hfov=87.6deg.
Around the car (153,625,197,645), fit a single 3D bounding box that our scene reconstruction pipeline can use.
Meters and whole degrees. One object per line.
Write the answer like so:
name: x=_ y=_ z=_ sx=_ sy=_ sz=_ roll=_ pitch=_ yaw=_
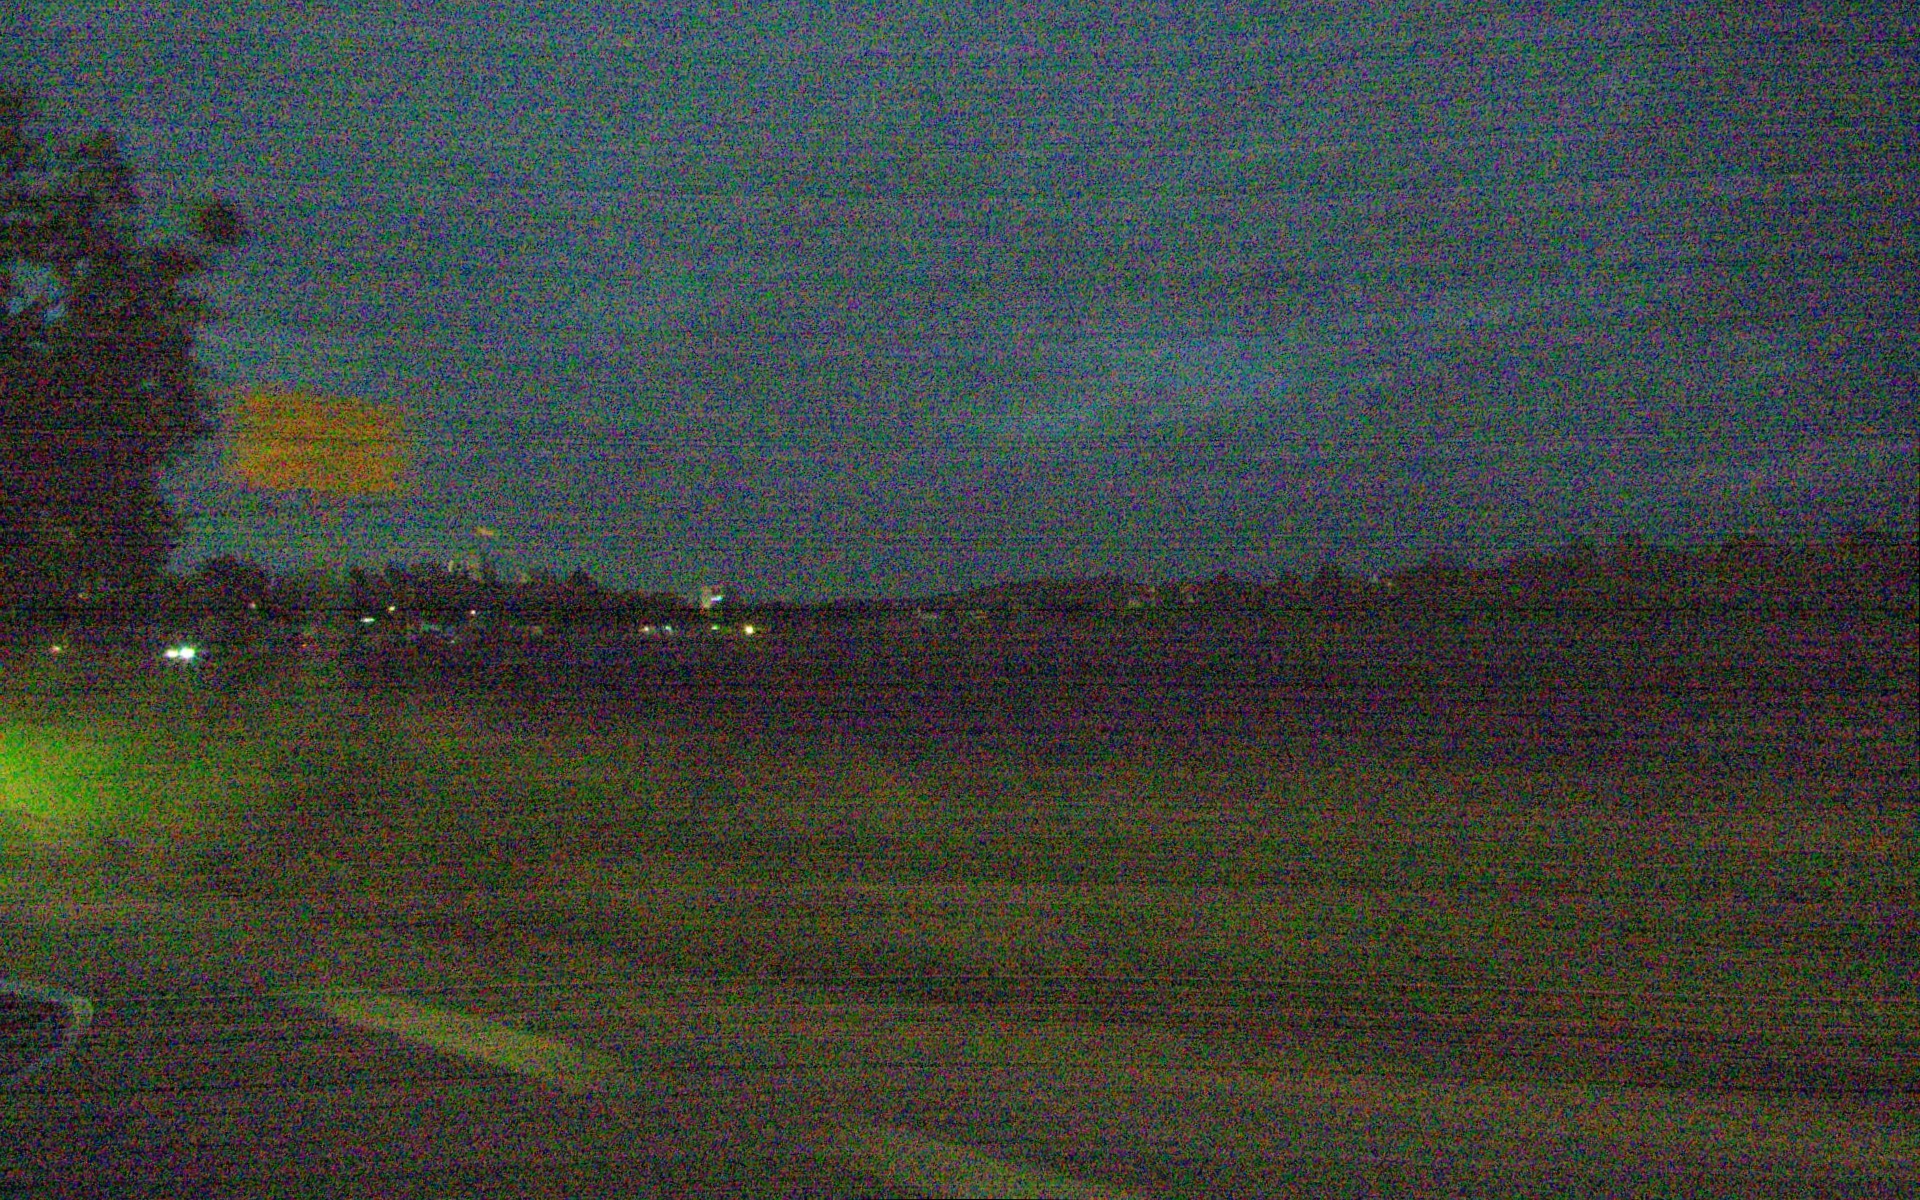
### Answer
car: x=-85.600 y=3.786 z=109.261 sx=1.962 sy=2.040 sz=3.998 roll=1 pitch=0 yaw=-6
